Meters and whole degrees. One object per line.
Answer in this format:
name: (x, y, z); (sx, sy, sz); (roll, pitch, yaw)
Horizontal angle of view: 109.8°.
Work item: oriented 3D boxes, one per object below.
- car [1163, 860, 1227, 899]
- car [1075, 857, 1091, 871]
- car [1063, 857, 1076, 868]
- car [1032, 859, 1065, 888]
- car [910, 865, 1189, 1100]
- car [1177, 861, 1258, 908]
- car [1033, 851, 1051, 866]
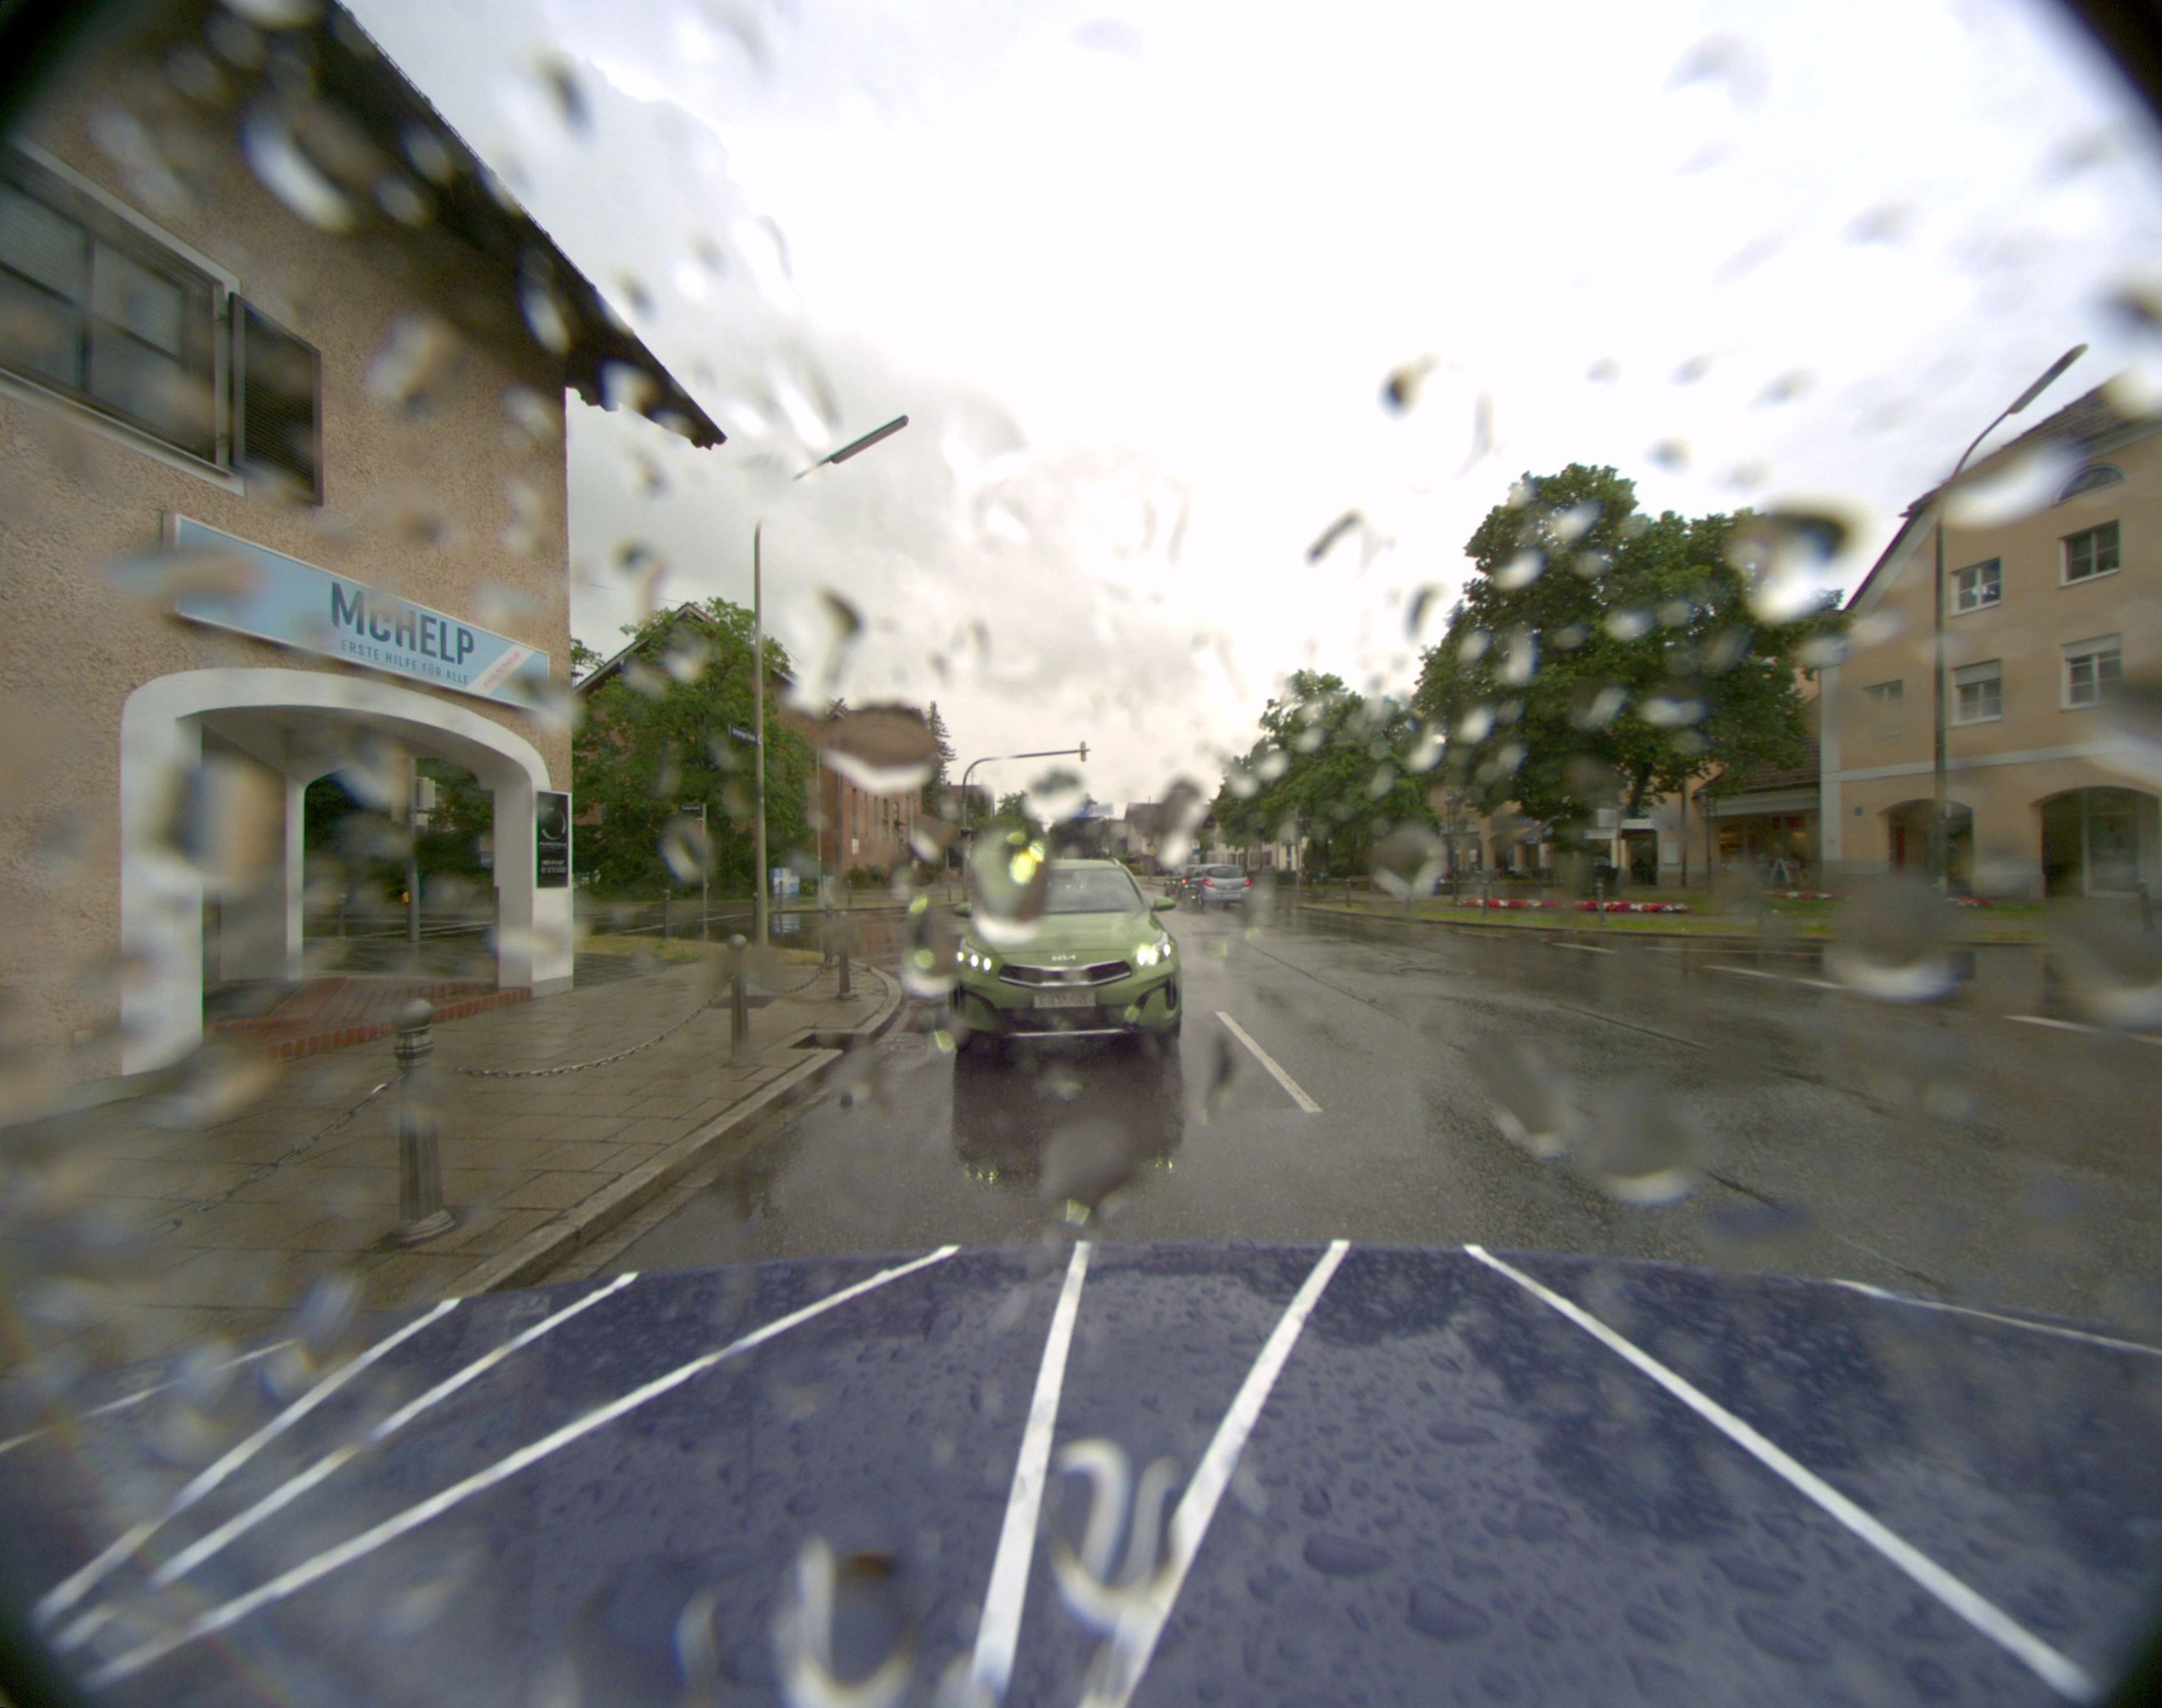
car: (4.667, 1.017, 31.652); (1.873, 1.447, 4.103); (0, 0, -2)
car: (0.226, 1.235, 97.500); (1.810, 1.677, 3.998); (-1, 0, -4)
car: (-1.842, 1.399, 123.317); (1.810, 1.677, 3.998); (-1, 0, -4)
car: (-1.852, 1.039, 42.956); (1.736, 1.489, 4.609); (0, 0, -3)
car: (-0.185, 0.904, 7.198); (1.872, 1.505, 4.105); (-1, 0, 1)
car: (4.567, 0.977, 26.042); (1.873, 1.447, 4.103); (0, 0, -2)
car: (-5.352, 0.648, 103.563); (2.218, 1.977, 4.952); (0, 0, -5)
